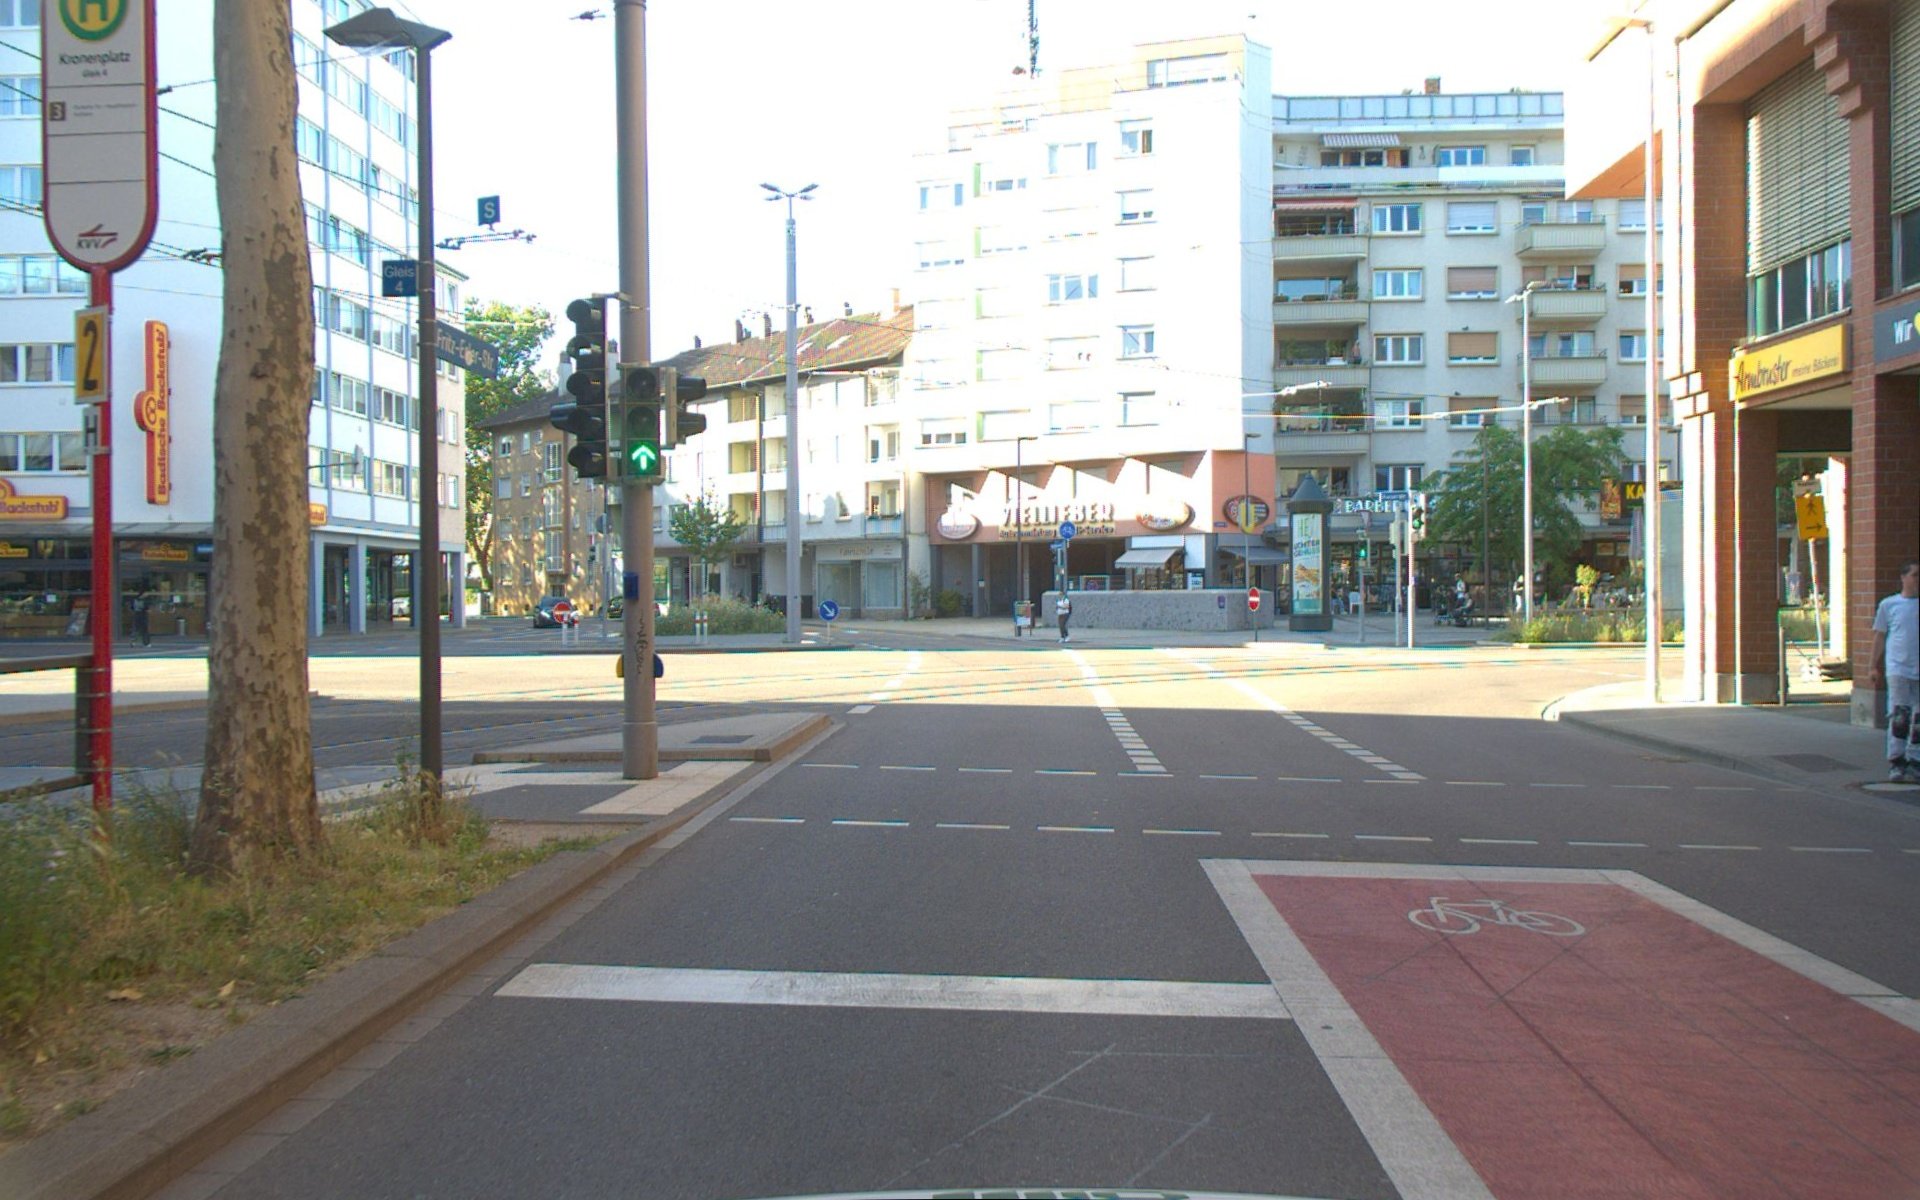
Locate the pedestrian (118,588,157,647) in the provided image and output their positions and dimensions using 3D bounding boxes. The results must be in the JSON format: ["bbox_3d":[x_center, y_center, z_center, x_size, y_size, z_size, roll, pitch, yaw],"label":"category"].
[{"bbox_3d":[-24.856,0.518,49.994,0.788,1.754,0.776,0,0,3],"label":"pedestrian"}]

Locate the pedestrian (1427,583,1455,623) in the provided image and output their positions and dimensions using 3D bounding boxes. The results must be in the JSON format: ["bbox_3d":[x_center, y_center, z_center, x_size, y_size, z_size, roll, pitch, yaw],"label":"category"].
[{"bbox_3d":[17.770,0.093,61.108,0.707,1.471,0.925,0,1,37],"label":"pedestrian"}]

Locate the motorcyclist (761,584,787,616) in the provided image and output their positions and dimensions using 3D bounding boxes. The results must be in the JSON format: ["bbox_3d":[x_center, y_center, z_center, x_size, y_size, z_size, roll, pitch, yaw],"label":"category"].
[{"bbox_3d":[-8.113,-0.003,72.179,0.954,1.370,1.133,1,0,-15],"label":"motorcyclist"}]

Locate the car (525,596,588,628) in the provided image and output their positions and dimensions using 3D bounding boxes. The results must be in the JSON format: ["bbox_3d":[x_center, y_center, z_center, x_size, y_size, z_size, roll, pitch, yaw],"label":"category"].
[{"bbox_3d":[-18.554,0.526,76.250,1.795,1.410,4.595,-1,0,-1],"label":"car"}]

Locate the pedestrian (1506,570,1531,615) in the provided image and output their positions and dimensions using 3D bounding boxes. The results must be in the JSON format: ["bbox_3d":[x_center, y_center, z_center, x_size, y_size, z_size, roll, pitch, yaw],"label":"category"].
[{"bbox_3d":[21.901,-0.296,64.833,0.668,1.776,0.716,-1,0,-8],"label":"pedestrian"}]

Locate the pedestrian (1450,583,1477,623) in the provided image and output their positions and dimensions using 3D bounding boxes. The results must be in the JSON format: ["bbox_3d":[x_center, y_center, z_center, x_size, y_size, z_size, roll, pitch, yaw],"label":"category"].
[{"bbox_3d":[18.374,0.090,60.310,0.706,1.445,0.926,0,1,34],"label":"pedestrian"}]

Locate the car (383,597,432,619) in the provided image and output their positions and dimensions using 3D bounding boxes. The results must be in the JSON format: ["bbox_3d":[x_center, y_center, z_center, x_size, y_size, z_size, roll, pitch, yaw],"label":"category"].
[{"bbox_3d":[-41.434,0.585,124.025,2.023,1.531,4.030,-1,1,-42],"label":"car"}]

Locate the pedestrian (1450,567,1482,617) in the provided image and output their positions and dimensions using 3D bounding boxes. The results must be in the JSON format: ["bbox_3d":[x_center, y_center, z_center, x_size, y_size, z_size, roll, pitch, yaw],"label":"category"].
[{"bbox_3d":[19.408,-0.319,63.423,1.020,1.899,0.688,-1,0,5],"label":"pedestrian"}]

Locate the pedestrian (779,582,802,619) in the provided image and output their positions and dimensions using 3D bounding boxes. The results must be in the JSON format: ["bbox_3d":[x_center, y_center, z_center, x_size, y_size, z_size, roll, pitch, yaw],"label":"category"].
[{"bbox_3d":[-8.803,0.011,86.046,0.728,1.886,0.933,-3,2,-43],"label":"pedestrian"}]

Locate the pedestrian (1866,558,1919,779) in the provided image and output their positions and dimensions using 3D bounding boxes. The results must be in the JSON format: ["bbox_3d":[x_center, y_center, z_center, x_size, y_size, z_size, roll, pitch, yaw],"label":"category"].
[{"bbox_3d":[8.014,0.564,13.936,0.466,1.824,0.541,0,0,2],"label":"pedestrian"}]

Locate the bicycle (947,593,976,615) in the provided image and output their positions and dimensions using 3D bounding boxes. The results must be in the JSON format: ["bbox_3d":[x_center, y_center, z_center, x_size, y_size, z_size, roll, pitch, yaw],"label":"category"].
[{"bbox_3d":[0.068,0.194,81.994,0.492,1.056,1.613,0,0,-42],"label":"bicycle"}]

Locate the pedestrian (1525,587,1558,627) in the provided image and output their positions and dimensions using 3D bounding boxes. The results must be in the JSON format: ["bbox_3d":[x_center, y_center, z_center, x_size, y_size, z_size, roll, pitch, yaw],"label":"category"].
[{"bbox_3d":[20.490,0.246,58.299,0.704,1.388,1.107,0,1,-6],"label":"pedestrian"}]

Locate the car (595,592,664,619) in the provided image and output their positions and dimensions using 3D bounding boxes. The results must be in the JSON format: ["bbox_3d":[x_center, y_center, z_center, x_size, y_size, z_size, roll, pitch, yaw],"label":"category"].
[{"bbox_3d":[-17.692,0.299,88.461,1.913,1.413,3.939,0,0,-42],"label":"car"}]

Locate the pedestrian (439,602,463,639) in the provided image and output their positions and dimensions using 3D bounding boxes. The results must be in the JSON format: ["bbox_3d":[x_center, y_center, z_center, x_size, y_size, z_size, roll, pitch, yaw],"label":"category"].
[{"bbox_3d":[-24.240,0.950,78.775,0.763,1.754,0.802,0,0,44],"label":"pedestrian"}]

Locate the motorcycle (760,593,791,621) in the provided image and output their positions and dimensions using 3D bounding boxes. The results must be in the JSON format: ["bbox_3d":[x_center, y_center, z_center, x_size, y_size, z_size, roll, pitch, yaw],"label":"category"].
[{"bbox_3d":[-8.046,0.305,71.936,0.957,1.151,2.794,1,0,-15],"label":"motorcycle"}]

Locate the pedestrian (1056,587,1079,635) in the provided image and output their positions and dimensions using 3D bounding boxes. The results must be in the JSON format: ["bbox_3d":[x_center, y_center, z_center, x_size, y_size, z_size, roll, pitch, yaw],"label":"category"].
[{"bbox_3d":[3.633,0.377,55.837,0.536,1.611,0.549,0,0,-40],"label":"pedestrian"}]

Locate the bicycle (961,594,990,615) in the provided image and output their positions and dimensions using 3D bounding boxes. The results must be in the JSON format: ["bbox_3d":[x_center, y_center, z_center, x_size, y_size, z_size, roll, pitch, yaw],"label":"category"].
[{"bbox_3d":[0.761,0.224,82.459,0.492,1.056,1.613,0,0,-42],"label":"bicycle"}]
